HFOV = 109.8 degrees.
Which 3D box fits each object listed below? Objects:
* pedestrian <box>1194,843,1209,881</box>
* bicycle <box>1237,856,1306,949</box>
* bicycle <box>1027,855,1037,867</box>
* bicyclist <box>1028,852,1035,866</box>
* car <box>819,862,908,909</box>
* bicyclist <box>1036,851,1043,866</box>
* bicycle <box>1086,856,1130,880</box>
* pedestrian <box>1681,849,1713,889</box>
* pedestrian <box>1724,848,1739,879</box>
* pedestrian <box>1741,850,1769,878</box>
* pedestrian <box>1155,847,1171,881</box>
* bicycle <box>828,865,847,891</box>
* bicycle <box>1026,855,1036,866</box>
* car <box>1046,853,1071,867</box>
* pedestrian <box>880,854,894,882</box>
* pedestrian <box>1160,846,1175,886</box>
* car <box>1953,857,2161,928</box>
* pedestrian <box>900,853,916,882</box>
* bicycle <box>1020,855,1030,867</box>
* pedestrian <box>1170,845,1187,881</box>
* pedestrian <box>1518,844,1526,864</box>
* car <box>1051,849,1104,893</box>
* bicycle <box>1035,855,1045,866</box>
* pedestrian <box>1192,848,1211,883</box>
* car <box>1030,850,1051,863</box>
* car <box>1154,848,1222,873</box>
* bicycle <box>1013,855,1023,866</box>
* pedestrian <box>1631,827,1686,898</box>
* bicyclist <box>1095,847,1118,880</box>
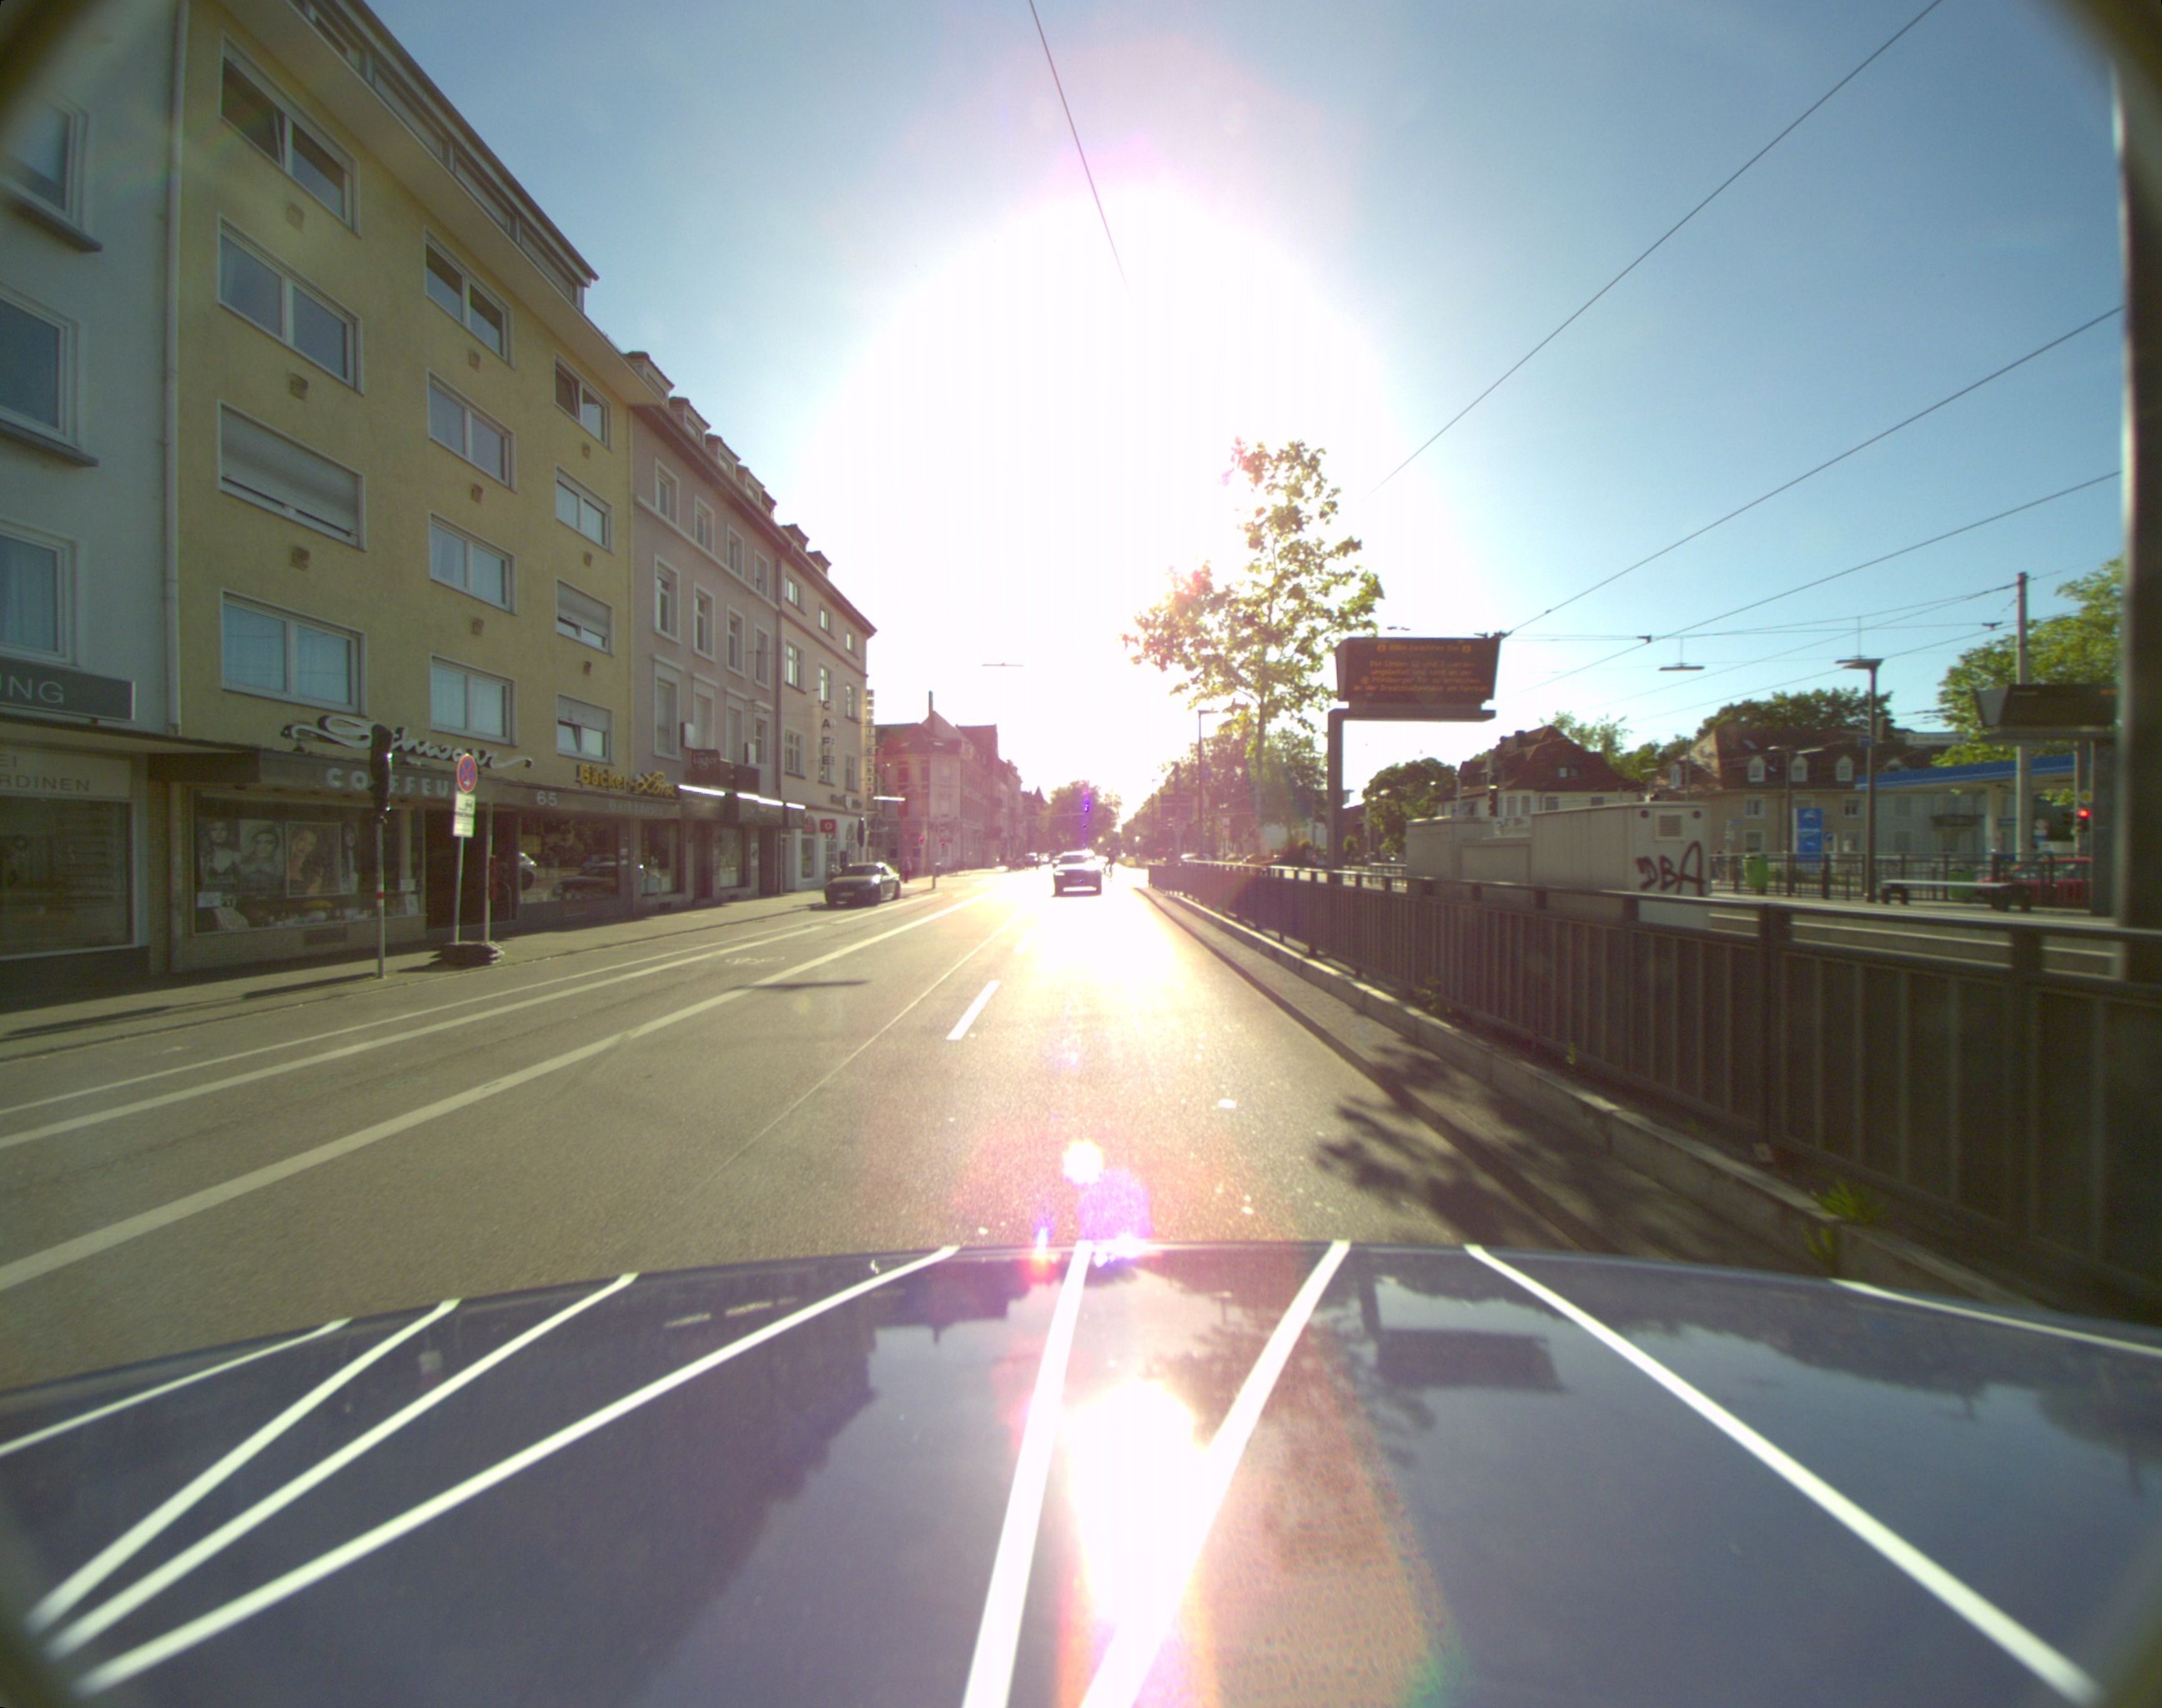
[{"bbox_3d":[5.982,0.393,37.829,0.651,1.821,0.808,0,1,4],"label":"pedestrian"},{"bbox_3d":[3.068,0.730,12.449,0.641,1.371,2.169,0,1,2],"label":"bicycle"},{"bbox_3d":[-5.473,0.774,84.645,0.693,1.208,2.299,0,1,5],"label":"bicycle"},{"bbox_3d":[-5.478,0.549,84.600,0.696,1.596,0.745,0,1,5],"label":"bicyclist"},{"bbox_3d":[-7.808,1.079,27.729,1.904,1.421,4.715,-2,1,-1],"label":"car"},{"bbox_3d":[-4.504,0.462,82.997,0.696,1.596,0.745,0,1,5],"label":"bicyclist"},{"bbox_3d":[1.571,0.814,44.061,2.382,1.349,1.020,-1,1,-26],"label":"bicycle"},{"bbox_3d":[26.096,0.614,32.191,0.653,1.680,0.826,-1,1,-7],"label":"pedestrian"},{"bbox_3d":[37.361,0.536,43.638,0.493,1.760,0.522,0,1,13],"label":"pedestrian"},{"bbox_3d":[36.387,0.515,41.033,0.768,1.475,0.800,-1,1,-2],"label":"pedestrian"},{"bbox_3d":[4.141,0.508,38.384,0.799,1.680,0.776,0,1,4],"label":"pedestrian"},{"bbox_3d":[-11.338,1.105,35.368,0.697,1.102,1.863,-1,1,-14],"label":"bicycle"},{"bbox_3d":[-5.396,0.708,82.111,0.693,1.208,2.299,0,1,5],"label":"bicycle"},{"bbox_3d":[-2.556,0.711,88.002,2.294,1.566,4.595,0,1,5],"label":"car"},{"bbox_3d":[-11.829,0.835,46.301,0.663,1.680,0.677,0,1,0],"label":"pedestrian"},{"bbox_3d":[3.999,0.548,35.217,0.637,1.817,0.776,0,1,4],"label":"pedestrian"},{"bbox_3d":[23.245,0.801,17.502,1.802,1.412,4.000,0,1,2],"label":"car"},{"bbox_3d":[-10.479,0.817,45.968,0.775,1.680,0.800,-1,-1,0],"label":"pedestrian"},{"bbox_3d":[-6.089,0.742,82.448,0.693,1.208,2.299,0,1,5],"label":"bicycle"},{"bbox_3d":[4.728,0.425,36.781,0.743,1.680,0.776,0,1,4],"label":"pedestrian"},{"bbox_3d":[38.465,0.013,66.243,0.417,1.733,0.409,-1,1,0],"label":"pedestrian"},{"bbox_3d":[-0.142,0.628,31.238,1.979,1.660,4.620,-1,1,0],"label":"car"},{"bbox_3d":[-4.459,0.702,82.300,0.693,1.208,2.299,0,1,5],"label":"bicycle"},{"bbox_3d":[5.832,0.542,36.917,0.803,1.680,1.008,0,1,4],"label":"pedestrian"},{"bbox_3d":[-5.548,0.283,104.890,2.295,1.717,4.594,0,1,3],"label":"car"},{"bbox_3d":[7.196,0.393,51.156,4.280,1.595,1.995,-1,1,-33],"label":"car"},{"bbox_3d":[-6.839,0.705,82.638,0.693,1.208,2.299,0,1,5],"label":"bicycle"},{"bbox_3d":[13.174,0.195,17.343,0.686,1.583,0.735,0,1,1],"label":"pedestrian"},{"bbox_3d":[1.470,0.524,44.017,1.005,1.872,0.991,-1,1,-26],"label":"bicyclist"}]
